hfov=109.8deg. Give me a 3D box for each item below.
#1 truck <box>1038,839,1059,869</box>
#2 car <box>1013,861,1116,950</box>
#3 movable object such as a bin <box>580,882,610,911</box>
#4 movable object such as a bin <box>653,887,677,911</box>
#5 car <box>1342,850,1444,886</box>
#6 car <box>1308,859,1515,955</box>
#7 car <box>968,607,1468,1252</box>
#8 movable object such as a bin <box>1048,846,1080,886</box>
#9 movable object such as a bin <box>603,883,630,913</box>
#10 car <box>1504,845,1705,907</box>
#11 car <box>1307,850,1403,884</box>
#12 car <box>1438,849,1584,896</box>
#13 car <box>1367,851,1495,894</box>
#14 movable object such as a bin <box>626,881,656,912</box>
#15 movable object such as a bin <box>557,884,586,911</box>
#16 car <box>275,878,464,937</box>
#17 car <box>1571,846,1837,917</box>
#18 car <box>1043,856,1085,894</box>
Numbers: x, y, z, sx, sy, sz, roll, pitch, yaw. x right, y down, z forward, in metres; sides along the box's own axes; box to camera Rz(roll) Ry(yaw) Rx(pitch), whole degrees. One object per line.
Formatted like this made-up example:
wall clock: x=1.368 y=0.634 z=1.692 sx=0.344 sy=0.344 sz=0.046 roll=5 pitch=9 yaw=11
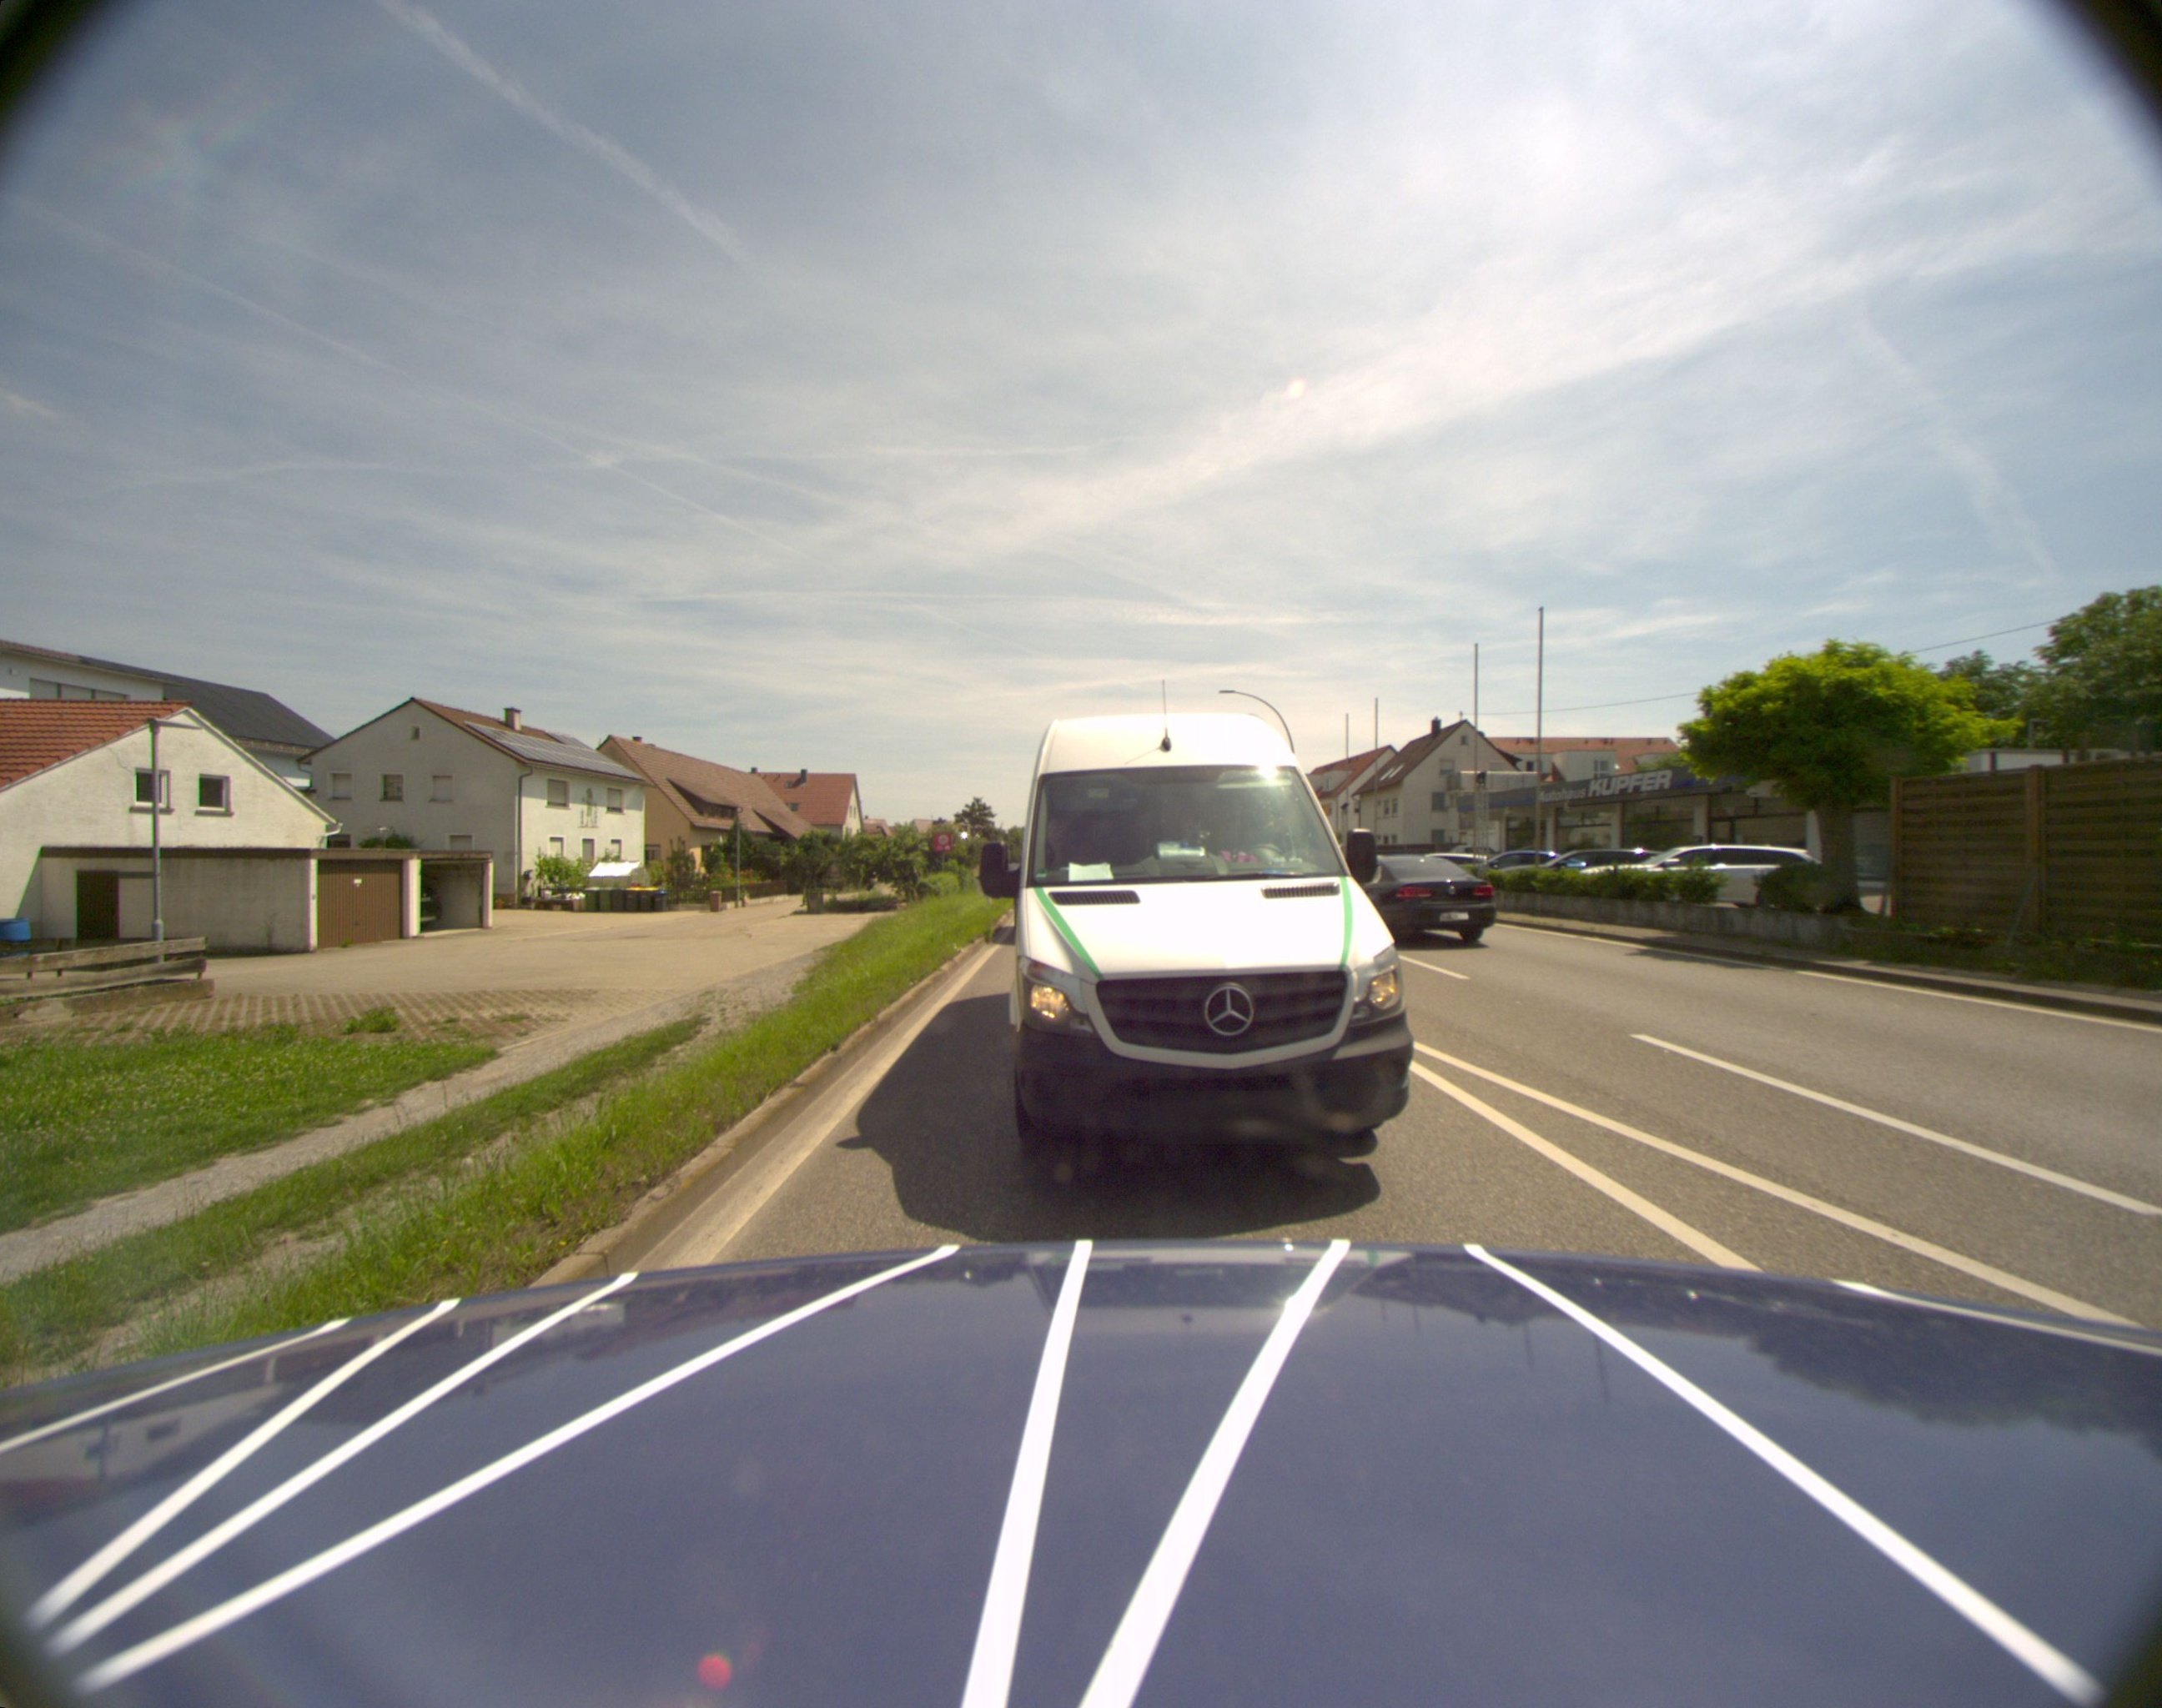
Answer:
truck: x=-4.268 y=0.017 z=100.026 sx=2.506 sy=3.847 sz=5.497 roll=-2 pitch=0 yaw=-1
car: x=-0.324 y=0.940 z=15.576 sx=1.824 sy=1.574 sz=3.901 roll=-1 pitch=0 yaw=-1
movable object such as a bin: x=-22.121 y=1.914 z=34.606 sx=0.745 sy=1.239 sz=0.889 roll=-2 pitch=0 yaw=-1
movable object such as a bin: x=-18.854 y=2.056 z=34.481 sx=0.645 sy=1.021 sz=0.756 roll=-2 pitch=0 yaw=-1
car: x=13.789 y=0.635 z=33.557 sx=3.990 sy=1.455 sz=2.003 roll=-2 pitch=0 yaw=26
car: x=5.764 y=0.833 z=13.962 sx=1.819 sy=1.409 sz=4.615 roll=-2 pitch=0 yaw=1
car: x=0.531 y=0.320 z=5.932 sx=1.978 sy=2.583 sz=5.633 roll=-2 pitch=0 yaw=-1
movable object such as a bin: x=-1.174 y=0.838 z=55.155 sx=1.998 sy=2.710 sz=5.419 roll=-1 pitch=0 yaw=1
movable object such as a bin: x=-21.201 y=2.003 z=34.685 sx=0.678 sy=1.330 sz=0.820 roll=-2 pitch=0 yaw=-1
car: x=14.226 y=0.607 z=20.981 sx=4.251 sy=1.536 sz=1.853 roll=-2 pitch=0 yaw=23
car: x=13.571 y=0.661 z=37.617 sx=4.255 sy=1.521 sz=2.003 roll=-2 pitch=0 yaw=26
car: x=13.954 y=0.607 z=24.934 sx=3.990 sy=1.433 sz=1.857 roll=-2 pitch=0 yaw=25
car: x=13.488 y=0.705 z=29.355 sx=4.303 sy=1.510 sz=2.003 roll=-2 pitch=0 yaw=27
movable object such as a bin: x=-19.861 y=1.911 z=34.331 sx=0.765 sy=1.362 sz=0.946 roll=-2 pitch=0 yaw=-1
movable object such as a bin: x=-23.051 y=1.945 z=34.398 sx=0.740 sy=1.149 sz=0.830 roll=-2 pitch=0 yaw=-1
car: x=-21.546 y=1.597 z=23.122 sx=3.997 sy=1.594 sz=1.826 roll=-1 pitch=0 yaw=0
car: x=13.878 y=0.607 z=17.296 sx=4.329 sy=1.451 sz=1.858 roll=-1 pitch=0 yaw=24
car: x=-0.763 y=0.911 z=34.896 sx=1.824 sy=1.637 sz=3.901 roll=-1 pitch=0 yaw=-1
